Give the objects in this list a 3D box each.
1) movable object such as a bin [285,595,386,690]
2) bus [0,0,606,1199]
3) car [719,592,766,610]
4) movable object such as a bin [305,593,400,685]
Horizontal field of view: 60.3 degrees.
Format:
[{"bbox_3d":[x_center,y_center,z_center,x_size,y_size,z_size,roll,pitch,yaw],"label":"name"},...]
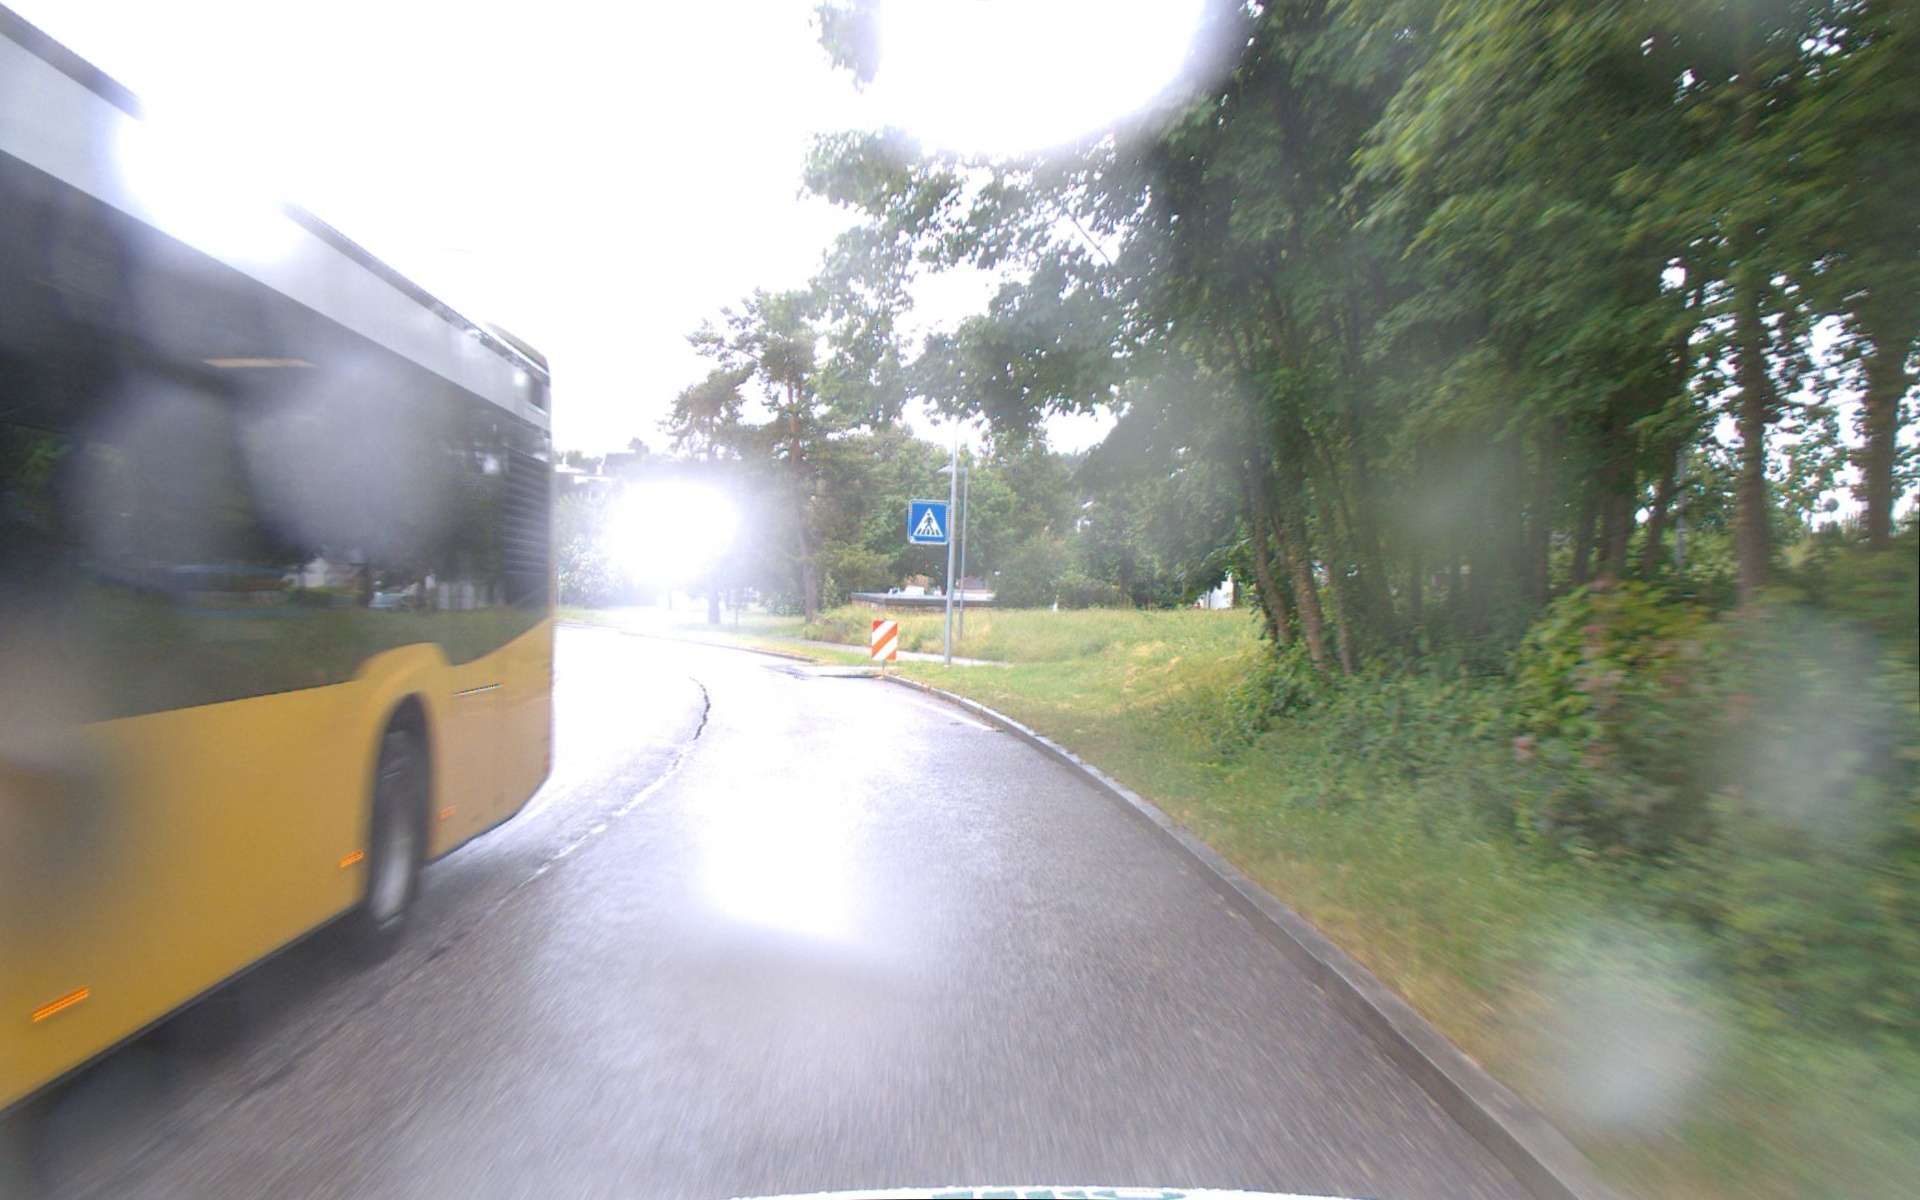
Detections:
[{"bbox_3d":[-9.427,0.624,25.041,1.111,1.324,1.395,4,-1,-11],"label":"movable object such as a bin"},{"bbox_3d":[-3.546,-0.106,7.613,2.588,3.085,7.660,1,0,-4],"label":"bus"},{"bbox_3d":[-22.595,0.107,171.882,4.452,1.780,1.912,-2,0,24],"label":"car"},{"bbox_3d":[-9.725,0.614,26.538,1.111,1.345,1.359,5,-1,-11],"label":"movable object such as a bin"}]
